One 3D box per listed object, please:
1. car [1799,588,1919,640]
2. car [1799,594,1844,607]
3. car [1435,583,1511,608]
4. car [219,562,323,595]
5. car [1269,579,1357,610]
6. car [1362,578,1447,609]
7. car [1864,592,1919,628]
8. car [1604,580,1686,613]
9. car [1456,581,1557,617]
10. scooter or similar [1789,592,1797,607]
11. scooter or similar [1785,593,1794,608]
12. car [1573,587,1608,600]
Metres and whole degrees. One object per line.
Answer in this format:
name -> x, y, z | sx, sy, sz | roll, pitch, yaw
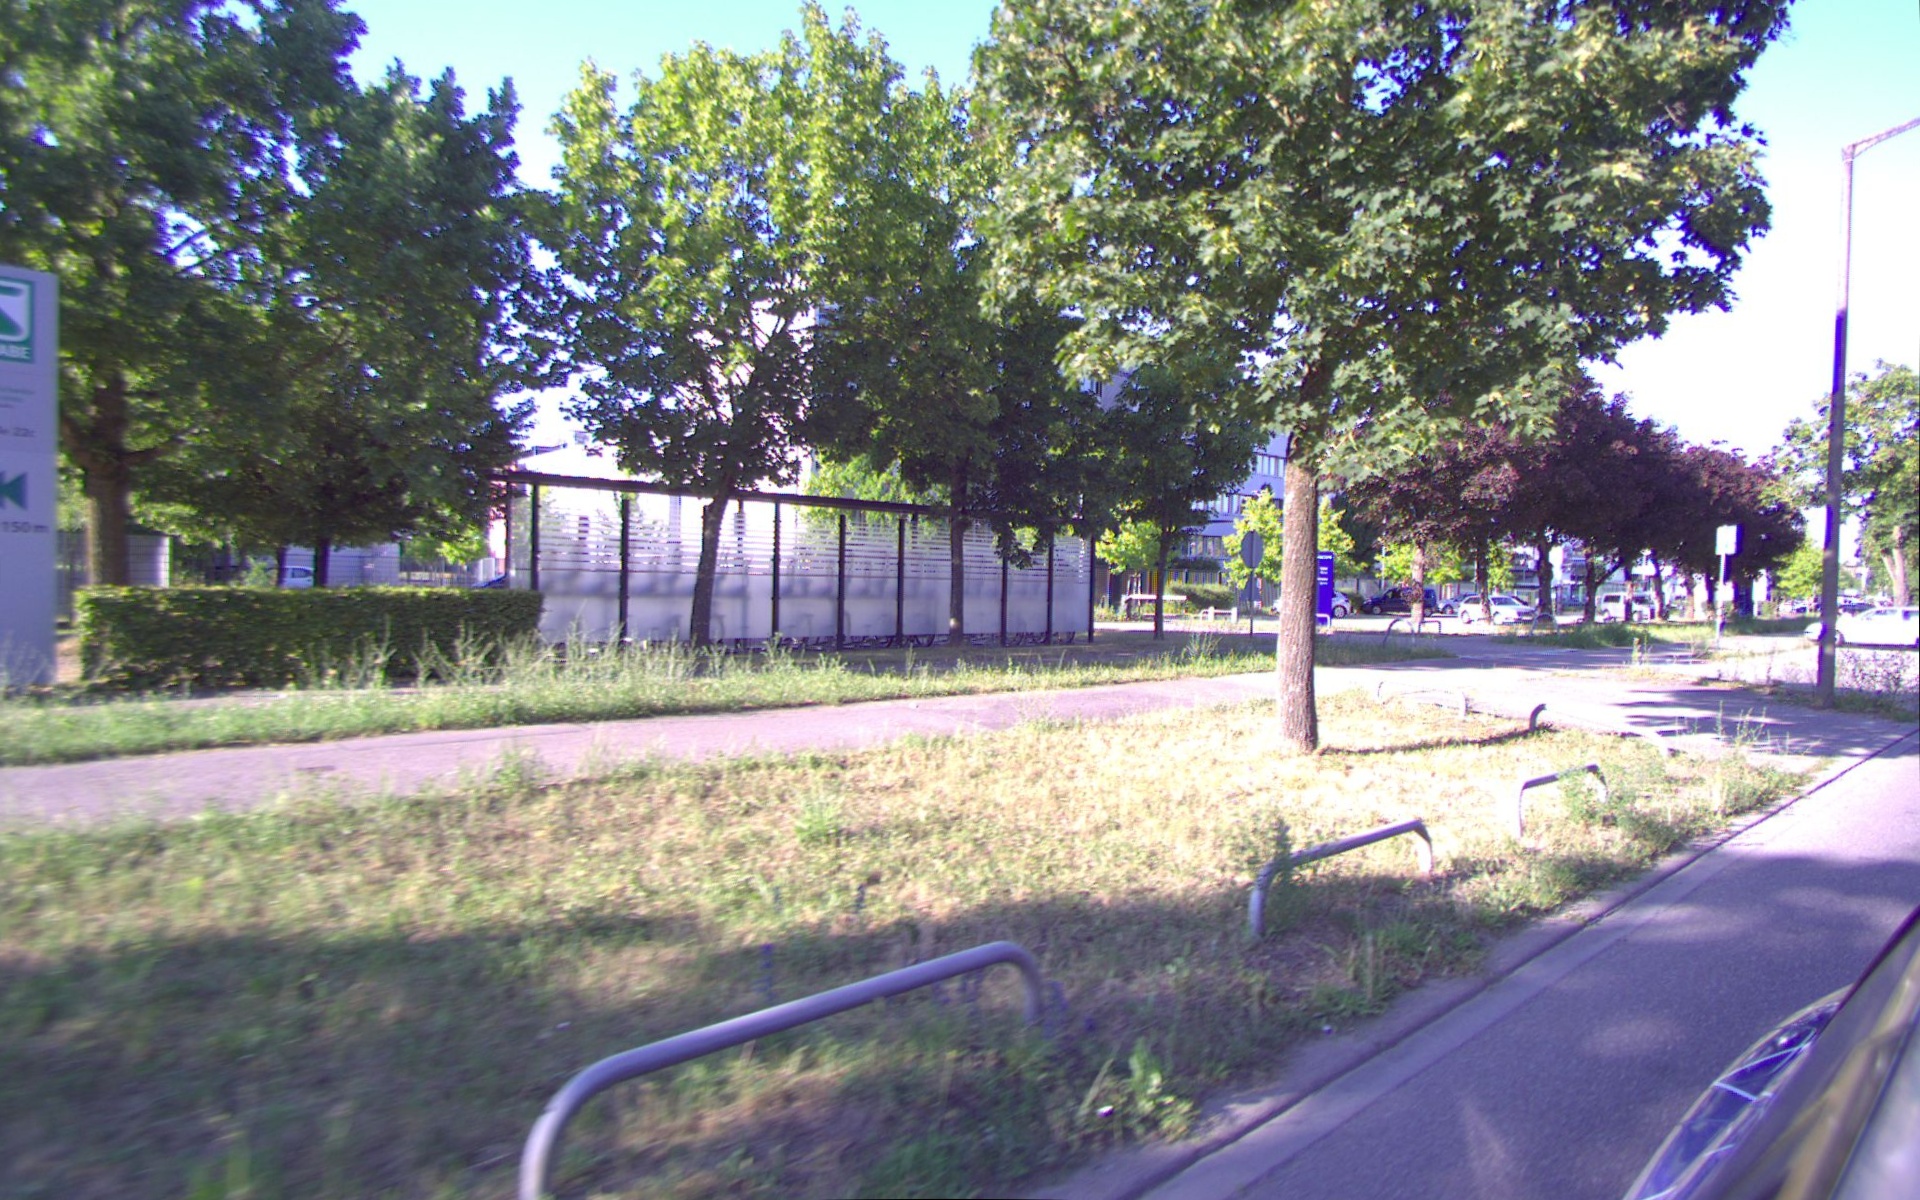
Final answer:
car -> 31.161, 0.460, 33.805 | 1.961, 1.497, 4.377 | 0, 4, -33
car -> 124.101, 0.005, 145.851 | 4.573, 1.604, 1.977 | 4, 2, 33
car -> 35.141, -0.322, 69.419 | 4.243, 1.547, 1.802 | 1, 1, 10
car -> -31.447, -0.971, 46.224 | 3.719, 1.415, 1.868 | 1, 1, -41
car -> 19.292, -0.294, 55.504 | 4.232, 1.546, 1.764 | 2, 1, 8
car -> 27.517, -0.438, 62.738 | 4.417, 1.772, 1.765 | 2, 1, 6
car -> 45.717, 0.516, 47.244 | 5.177, 1.593, 2.123 | 3, 2, 45
car -> 43.153, -0.235, 63.925 | 1.964, 1.958, 4.950 | 1, 0, 3
car -> 26.601, -0.082, 49.466 | 1.960, 1.593, 4.959 | 1, 1, -4
scooter or similar -> 71.897, -0.045, 87.350 | 0.519, 1.288, 1.367 | 2, 1, 40
scooter or similar -> 72.629, 0.061, 88.612 | 0.519, 1.288, 1.183 | 2, 1, 40
car -> 73.365, -0.808, 117.756 | 4.478, 1.450, 2.037 | 0, 2, -39
